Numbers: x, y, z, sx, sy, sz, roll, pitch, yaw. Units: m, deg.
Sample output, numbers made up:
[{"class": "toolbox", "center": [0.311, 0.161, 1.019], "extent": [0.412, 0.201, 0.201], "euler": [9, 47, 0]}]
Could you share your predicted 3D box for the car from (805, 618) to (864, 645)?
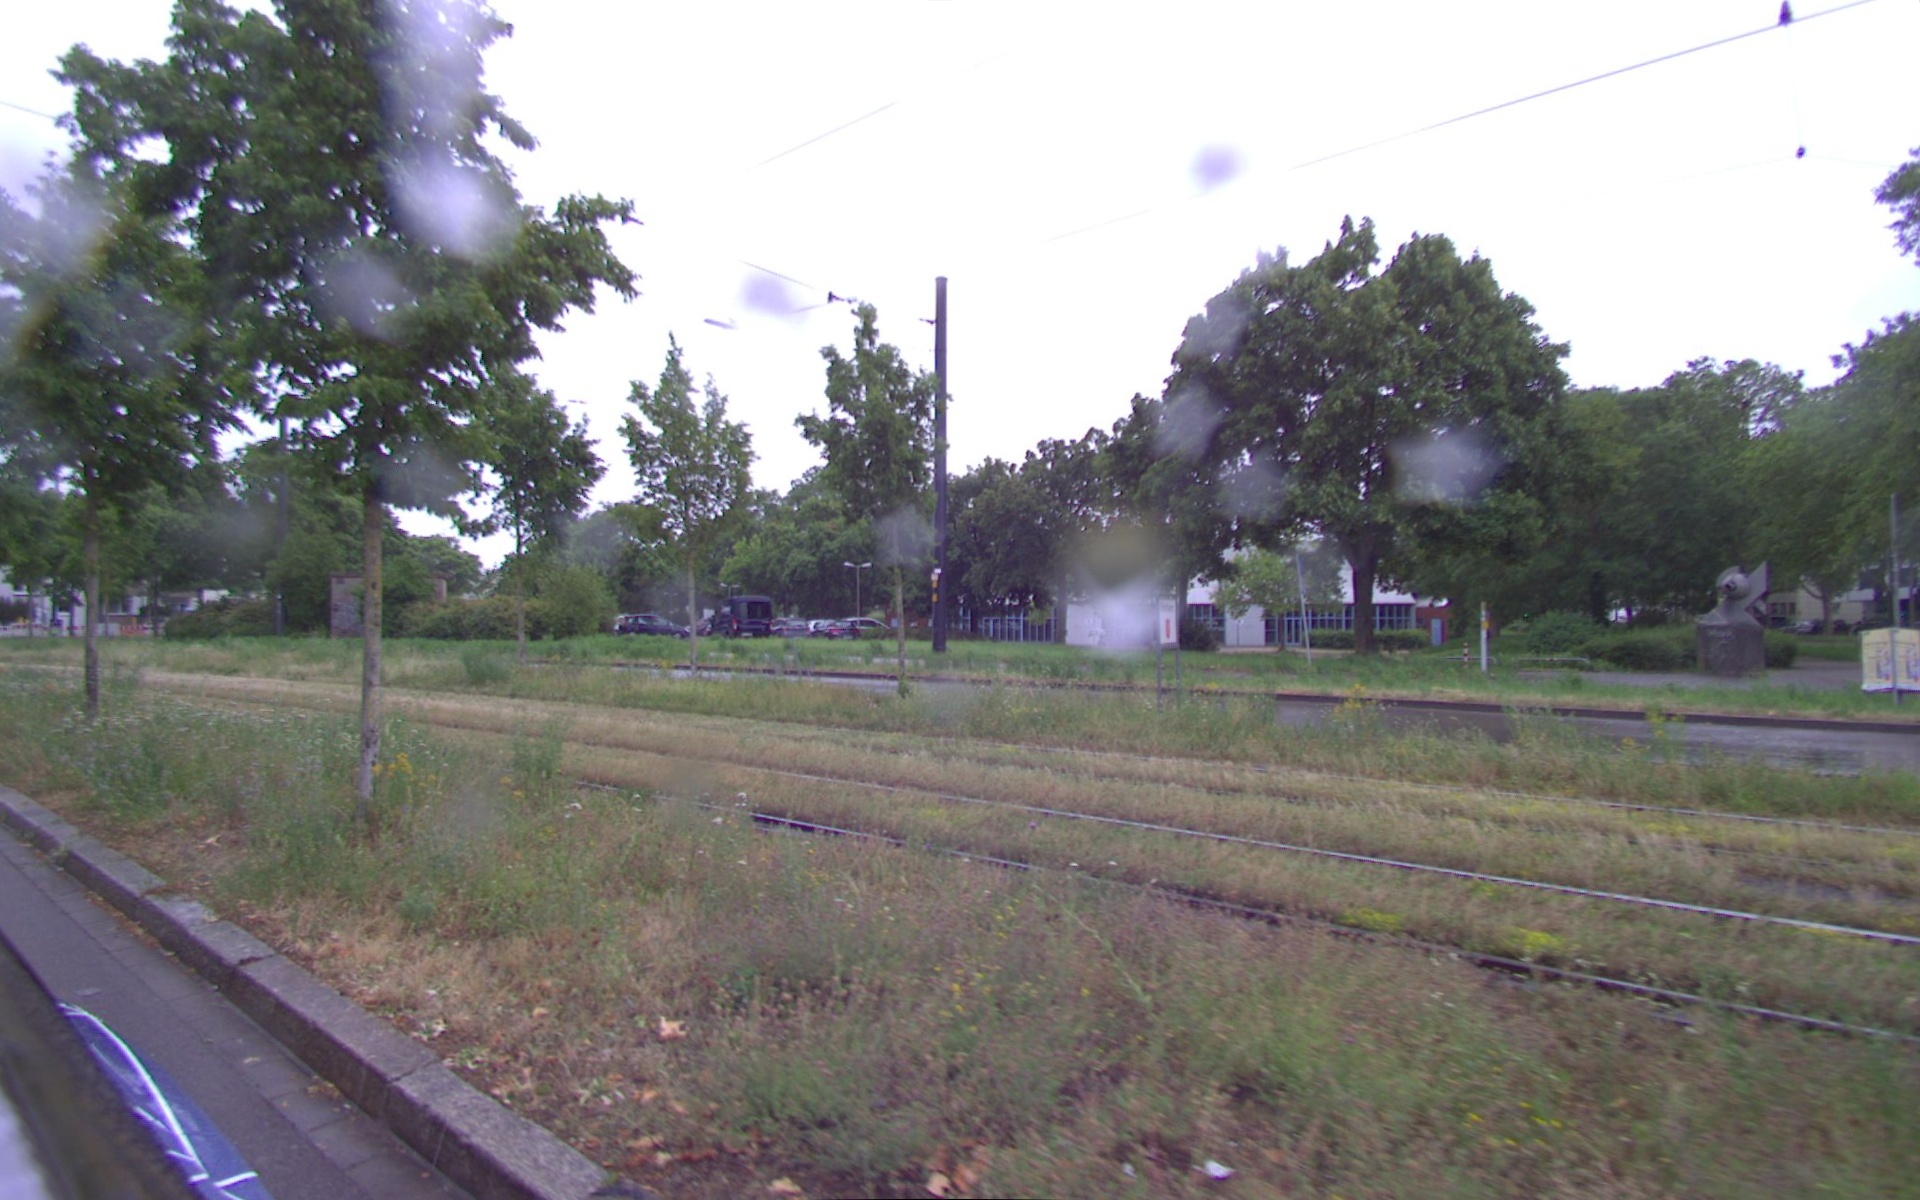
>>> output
[{"class": "car", "center": [-6.628, 1.655, 53.132], "extent": [1.805, 1.349, 4.111], "euler": [1, -2, -26]}]

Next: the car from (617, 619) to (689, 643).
[{"class": "car", "center": [-18.480, 1.838, 60.823], "extent": [3.991, 1.445, 1.696], "euler": [0, -1, -22]}]

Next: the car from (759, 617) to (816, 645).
[{"class": "car", "center": [-8.948, 1.615, 52.323], "extent": [1.805, 1.349, 4.111], "euler": [1, -2, -26]}]

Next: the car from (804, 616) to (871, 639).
[{"class": "car", "center": [-7.914, 1.759, 65.592], "extent": [3.991, 1.445, 1.696], "euler": [0, -1, -22]}]

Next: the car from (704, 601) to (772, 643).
[{"class": "car", "center": [-11.119, 1.129, 50.539], "extent": [2.002, 1.962, 4.729], "euler": [1, -2, -29]}]
